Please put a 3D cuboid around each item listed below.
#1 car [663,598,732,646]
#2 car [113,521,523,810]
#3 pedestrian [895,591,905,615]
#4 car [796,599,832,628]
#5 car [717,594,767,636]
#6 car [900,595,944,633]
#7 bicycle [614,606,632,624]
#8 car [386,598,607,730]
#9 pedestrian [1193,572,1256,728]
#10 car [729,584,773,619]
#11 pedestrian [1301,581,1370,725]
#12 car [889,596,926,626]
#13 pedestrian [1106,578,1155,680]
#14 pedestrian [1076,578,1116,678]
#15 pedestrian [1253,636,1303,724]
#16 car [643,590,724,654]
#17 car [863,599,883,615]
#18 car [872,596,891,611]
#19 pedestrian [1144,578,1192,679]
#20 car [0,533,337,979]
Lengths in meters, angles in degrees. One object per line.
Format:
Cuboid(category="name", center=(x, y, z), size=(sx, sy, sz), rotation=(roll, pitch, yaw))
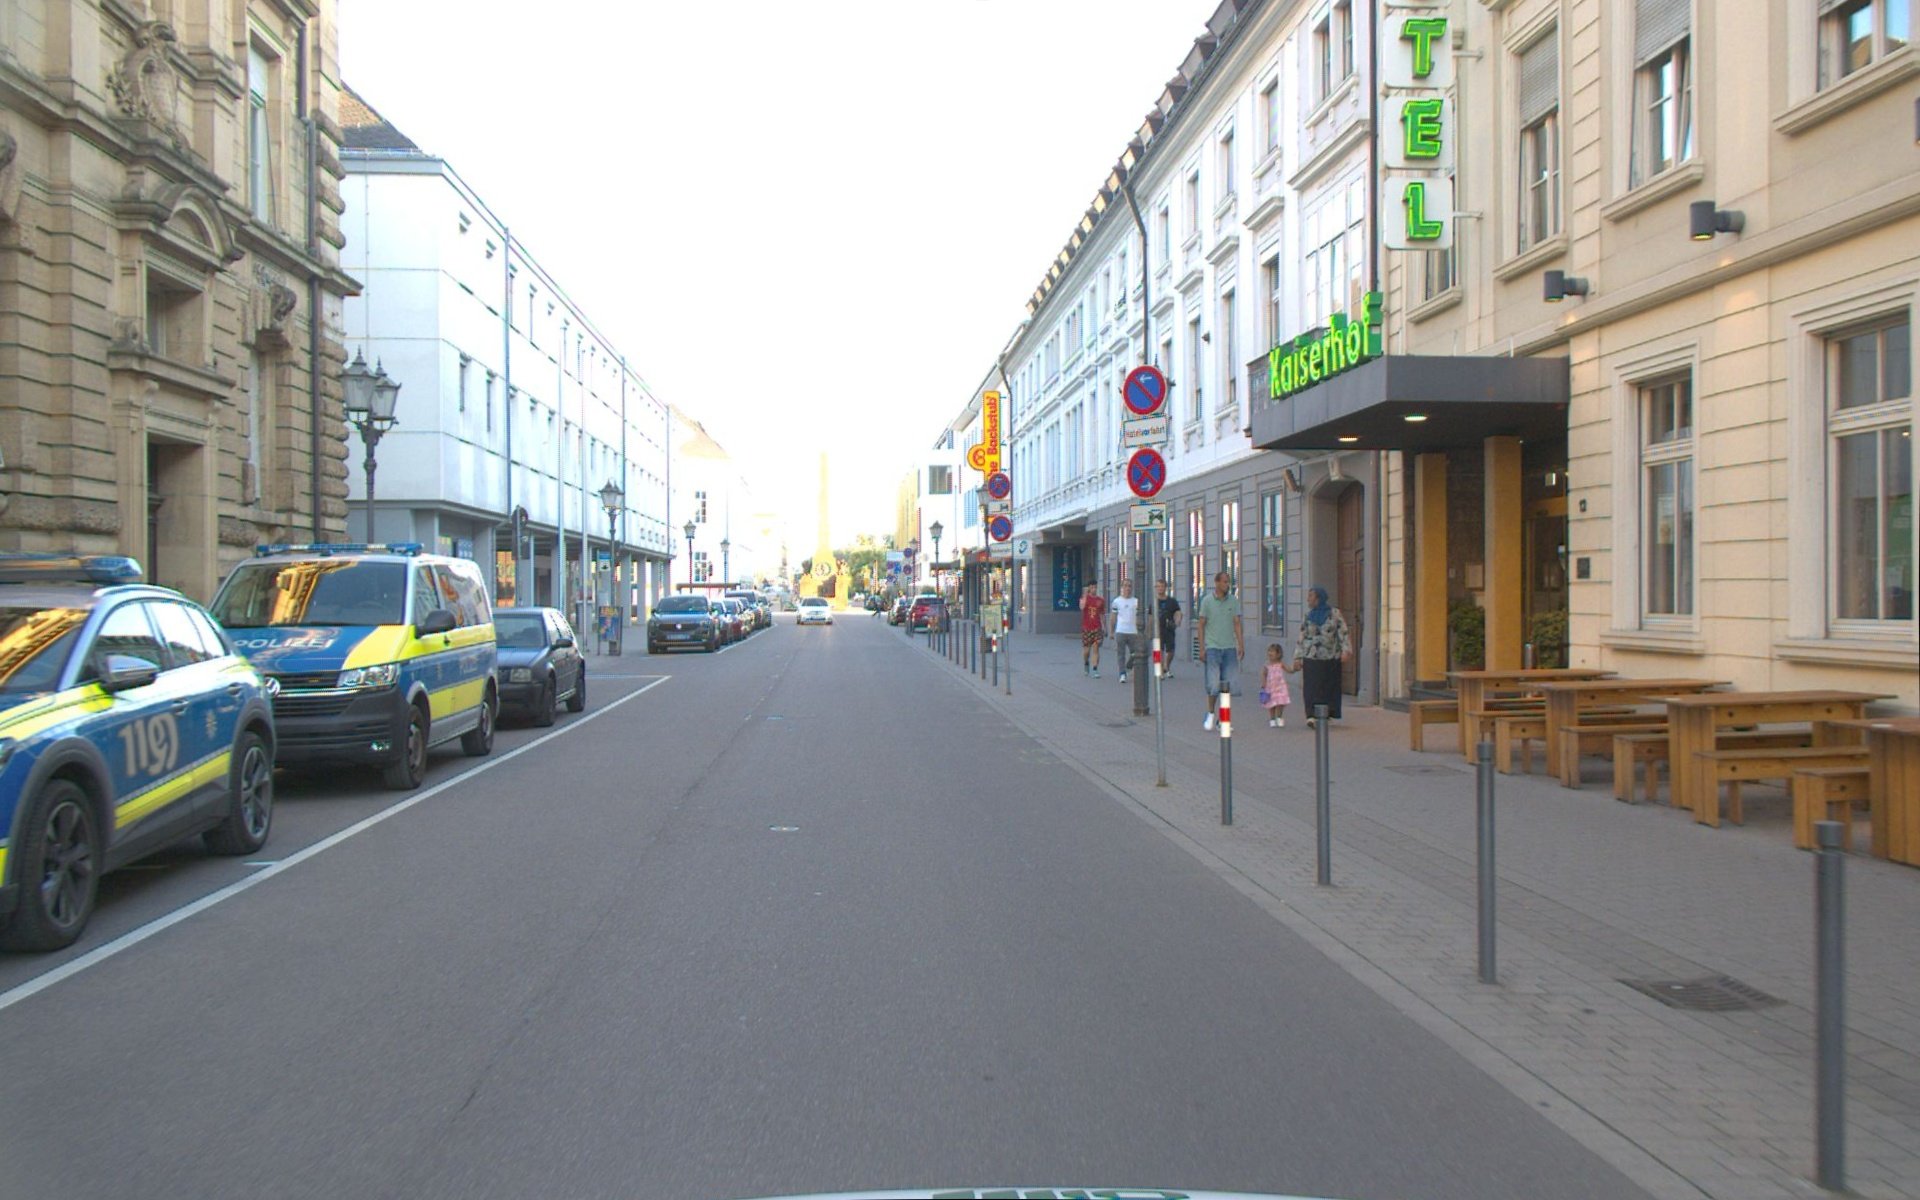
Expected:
Cuboid(category="car", center=(-8.350, 0.684, 52.875), size=(1.749, 1.433, 4.085), rotation=(-1, 0, -3))
Cuboid(category="car", center=(-5.431, 0.498, 14.799), size=(1.954, 2.114, 4.986), rotation=(-1, 0, -3))
Cuboid(category="pedestrian", center=(-4.259, 0.187, 116.846), size=(0.676, 1.676, 0.695), rotation=(-1, 0, -5))
Cuboid(category="car", center=(-7.612, 0.692, 86.408), size=(1.749, 1.433, 4.085), rotation=(-1, 0, -3))
Cuboid(category="car", center=(-9.902, 0.657, 75.410), size=(1.954, 1.758, 4.512), rotation=(-2, 0, -4))
Cuboid(category="car", center=(-1.633, 0.561, 70.296), size=(1.725, 1.550, 3.674), rotation=(0, 0, -4))
Cuboid(category="bicycle", center=(-19.000, 0.839, 93.260), size=(0.719, 1.001, 2.333), rotation=(0, 0, -6))
Cuboid(category="car", center=(-5.929, 0.759, 21.683), size=(1.954, 1.520, 4.161), rotation=(-1, 0, -4))
Cuboid(category="pedestrian", center=(3.046, 0.565, 19.073), size=(0.595, 1.760, 0.558), rotation=(-1, 0, -3))
Cuboid(category="car", center=(-10.323, 0.067, 81.955), size=(1.954, 1.691, 3.997), rotation=(0, 0, -4))
Cuboid(category="pedestrian", center=(4.353, 0.604, 19.192), size=(0.617, 1.629, 0.614), rotation=(-1, 0, -3))
Cuboid(category="car", center=(-2.694, 0.549, 84.093), size=(1.766, 1.489, 4.114), rotation=(0, 0, -4))
Cuboid(category="pedestrian", center=(2.989, 0.502, 29.014), size=(0.733, 1.760, 0.881), rotation=(-1, 0, -1))
Cuboid(category="pedestrian", center=(2.526, 0.510, 30.779), size=(0.608, 1.821, 0.913), rotation=(-1, 0, -3))
Cuboid(category="pedestrian", center=(3.719, 0.932, 19.366), size=(0.450, 0.997, 0.558), rotation=(-1, 0, -3))
Cuboid(category="car", center=(-7.613, 0.578, 45.782), size=(1.749, 1.643, 4.163), rotation=(-1, 0, -3))
Cuboid(category="car", center=(-8.659, 0.685, 165.469), size=(1.954, 1.489, 3.998), rotation=(-1, 0, -3))
Cuboid(category="car", center=(-8.247, 0.369, 173.993), size=(1.954, 1.489, 3.998), rotation=(-1, 0, -3))
Cuboid(category="pedestrian", center=(3.709, 0.502, 29.495), size=(0.699, 1.760, 0.873), rotation=(-1, 0, -2))
Cuboid(category="car", center=(-5.068, 0.649, 8.931), size=(1.955, 1.783, 4.983), rotation=(-1, 0, -6))
